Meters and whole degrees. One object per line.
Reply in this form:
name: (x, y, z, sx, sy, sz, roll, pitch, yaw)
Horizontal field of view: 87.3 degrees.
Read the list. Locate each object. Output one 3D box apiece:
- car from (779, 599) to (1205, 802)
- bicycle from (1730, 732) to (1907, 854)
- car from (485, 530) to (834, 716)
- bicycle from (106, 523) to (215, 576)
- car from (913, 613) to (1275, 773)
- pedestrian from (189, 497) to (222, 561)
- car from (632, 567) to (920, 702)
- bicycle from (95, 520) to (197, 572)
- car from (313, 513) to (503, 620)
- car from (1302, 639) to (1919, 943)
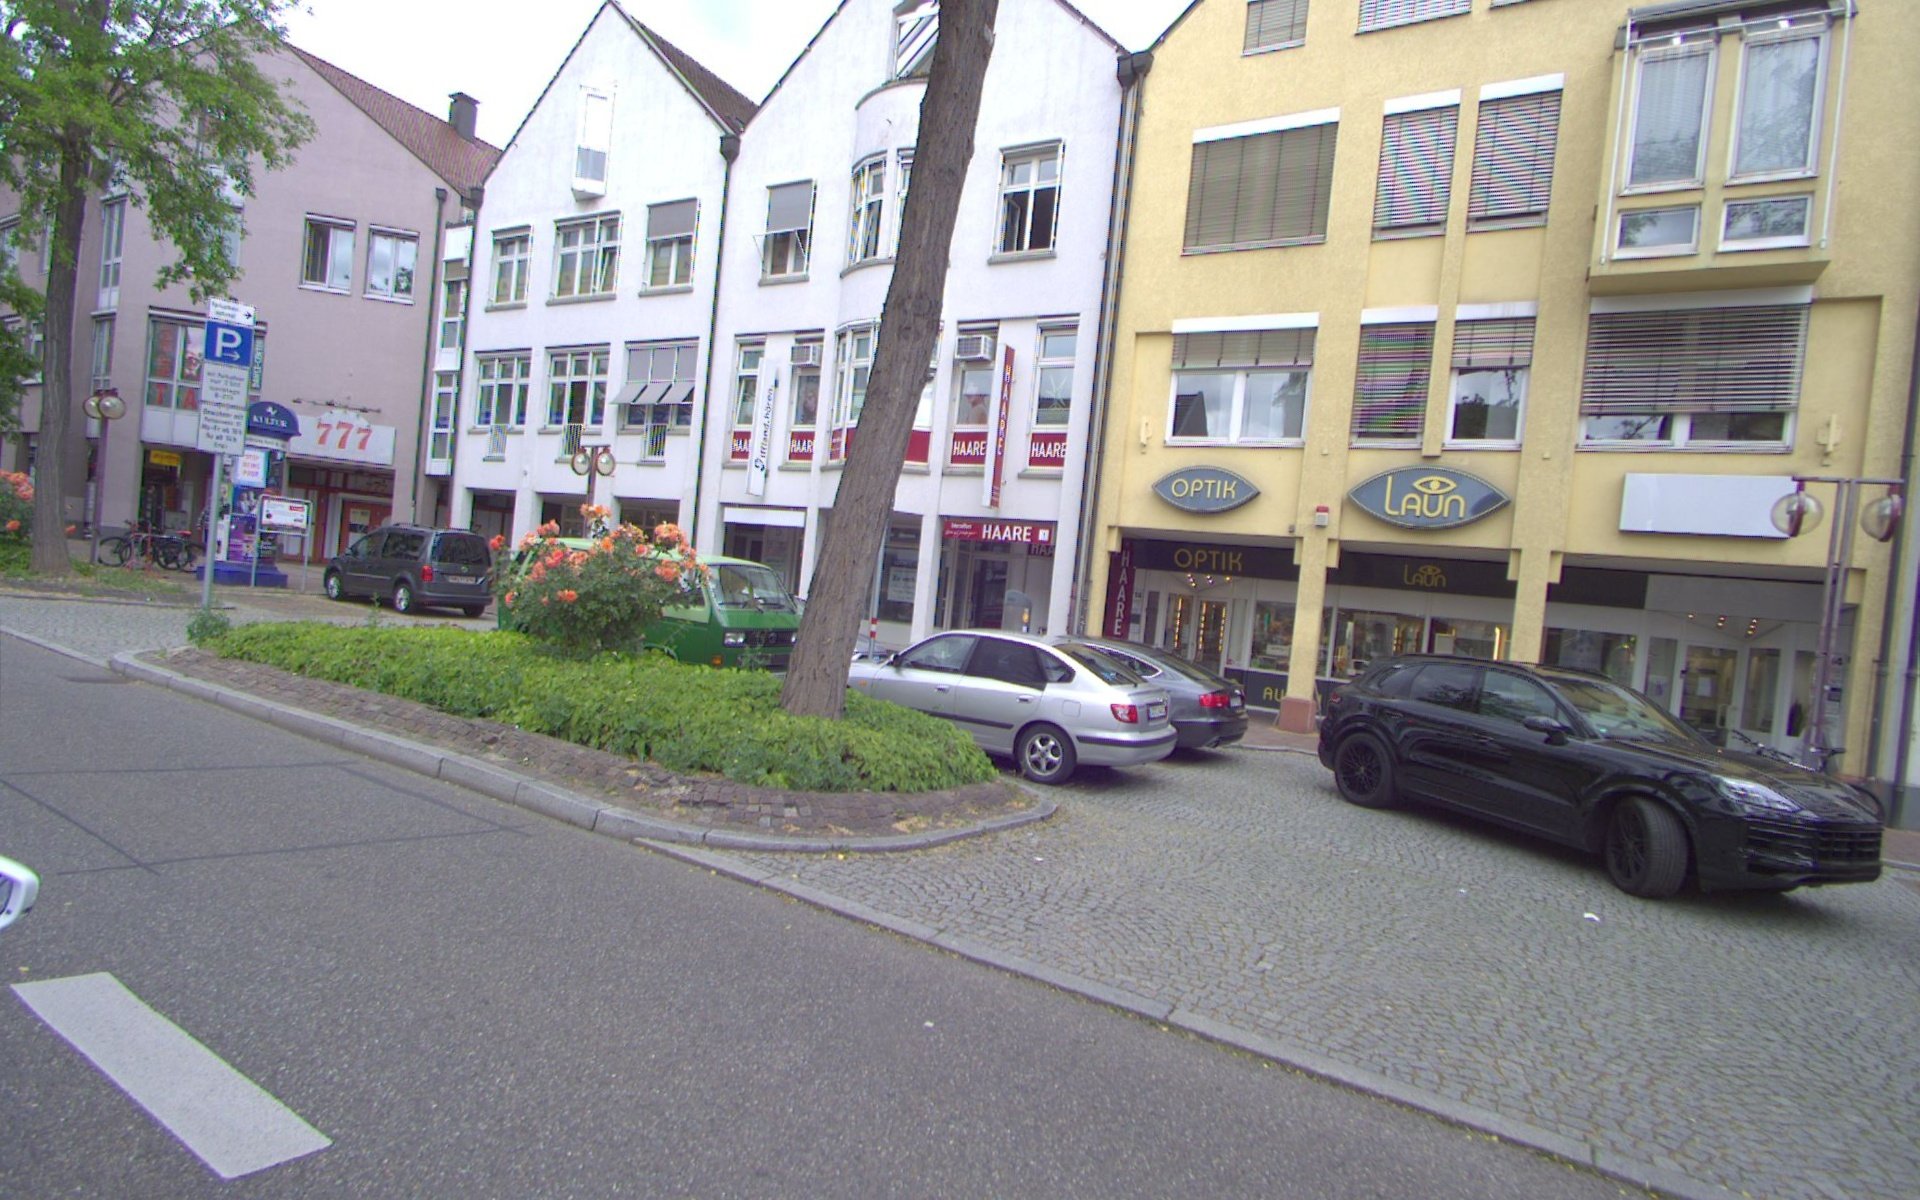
car: (0.288, 0.990, 11.258, 4.344, 1.469, 1.765, 7, 0, 30)
bicycle: (9.538, 2.122, 11.229, 1.356, 1.058, 0.392, 7, 2, 32)
car: (-4.180, 0.229, 13.787, 4.527, 1.901, 1.882, 7, 2, 30)
bicycle: (-18.849, -1.167, 23.750, 0.460, 1.009, 1.901, 7, 0, 36)
car: (1.772, 1.142, 13.659, 4.344, 1.394, 1.999, 7, 1, 30)
pedestrian: (-23.193, -2.180, 30.934, 0.646, 1.857, 0.604, 6, 1, -36)
car: (-3.006, 0.500, 16.178, 4.320, 1.562, 1.797, 7, 2, 30)
bicycle: (-19.356, -1.266, 23.955, 0.440, 1.009, 1.768, 7, 0, 36)
car: (-12.044, -0.736, 21.909, 3.898, 1.855, 1.639, 7, 1, 28)
car: (5.704, 1.488, 9.464, 1.836, 1.692, 4.631, 5, 1, -26)
